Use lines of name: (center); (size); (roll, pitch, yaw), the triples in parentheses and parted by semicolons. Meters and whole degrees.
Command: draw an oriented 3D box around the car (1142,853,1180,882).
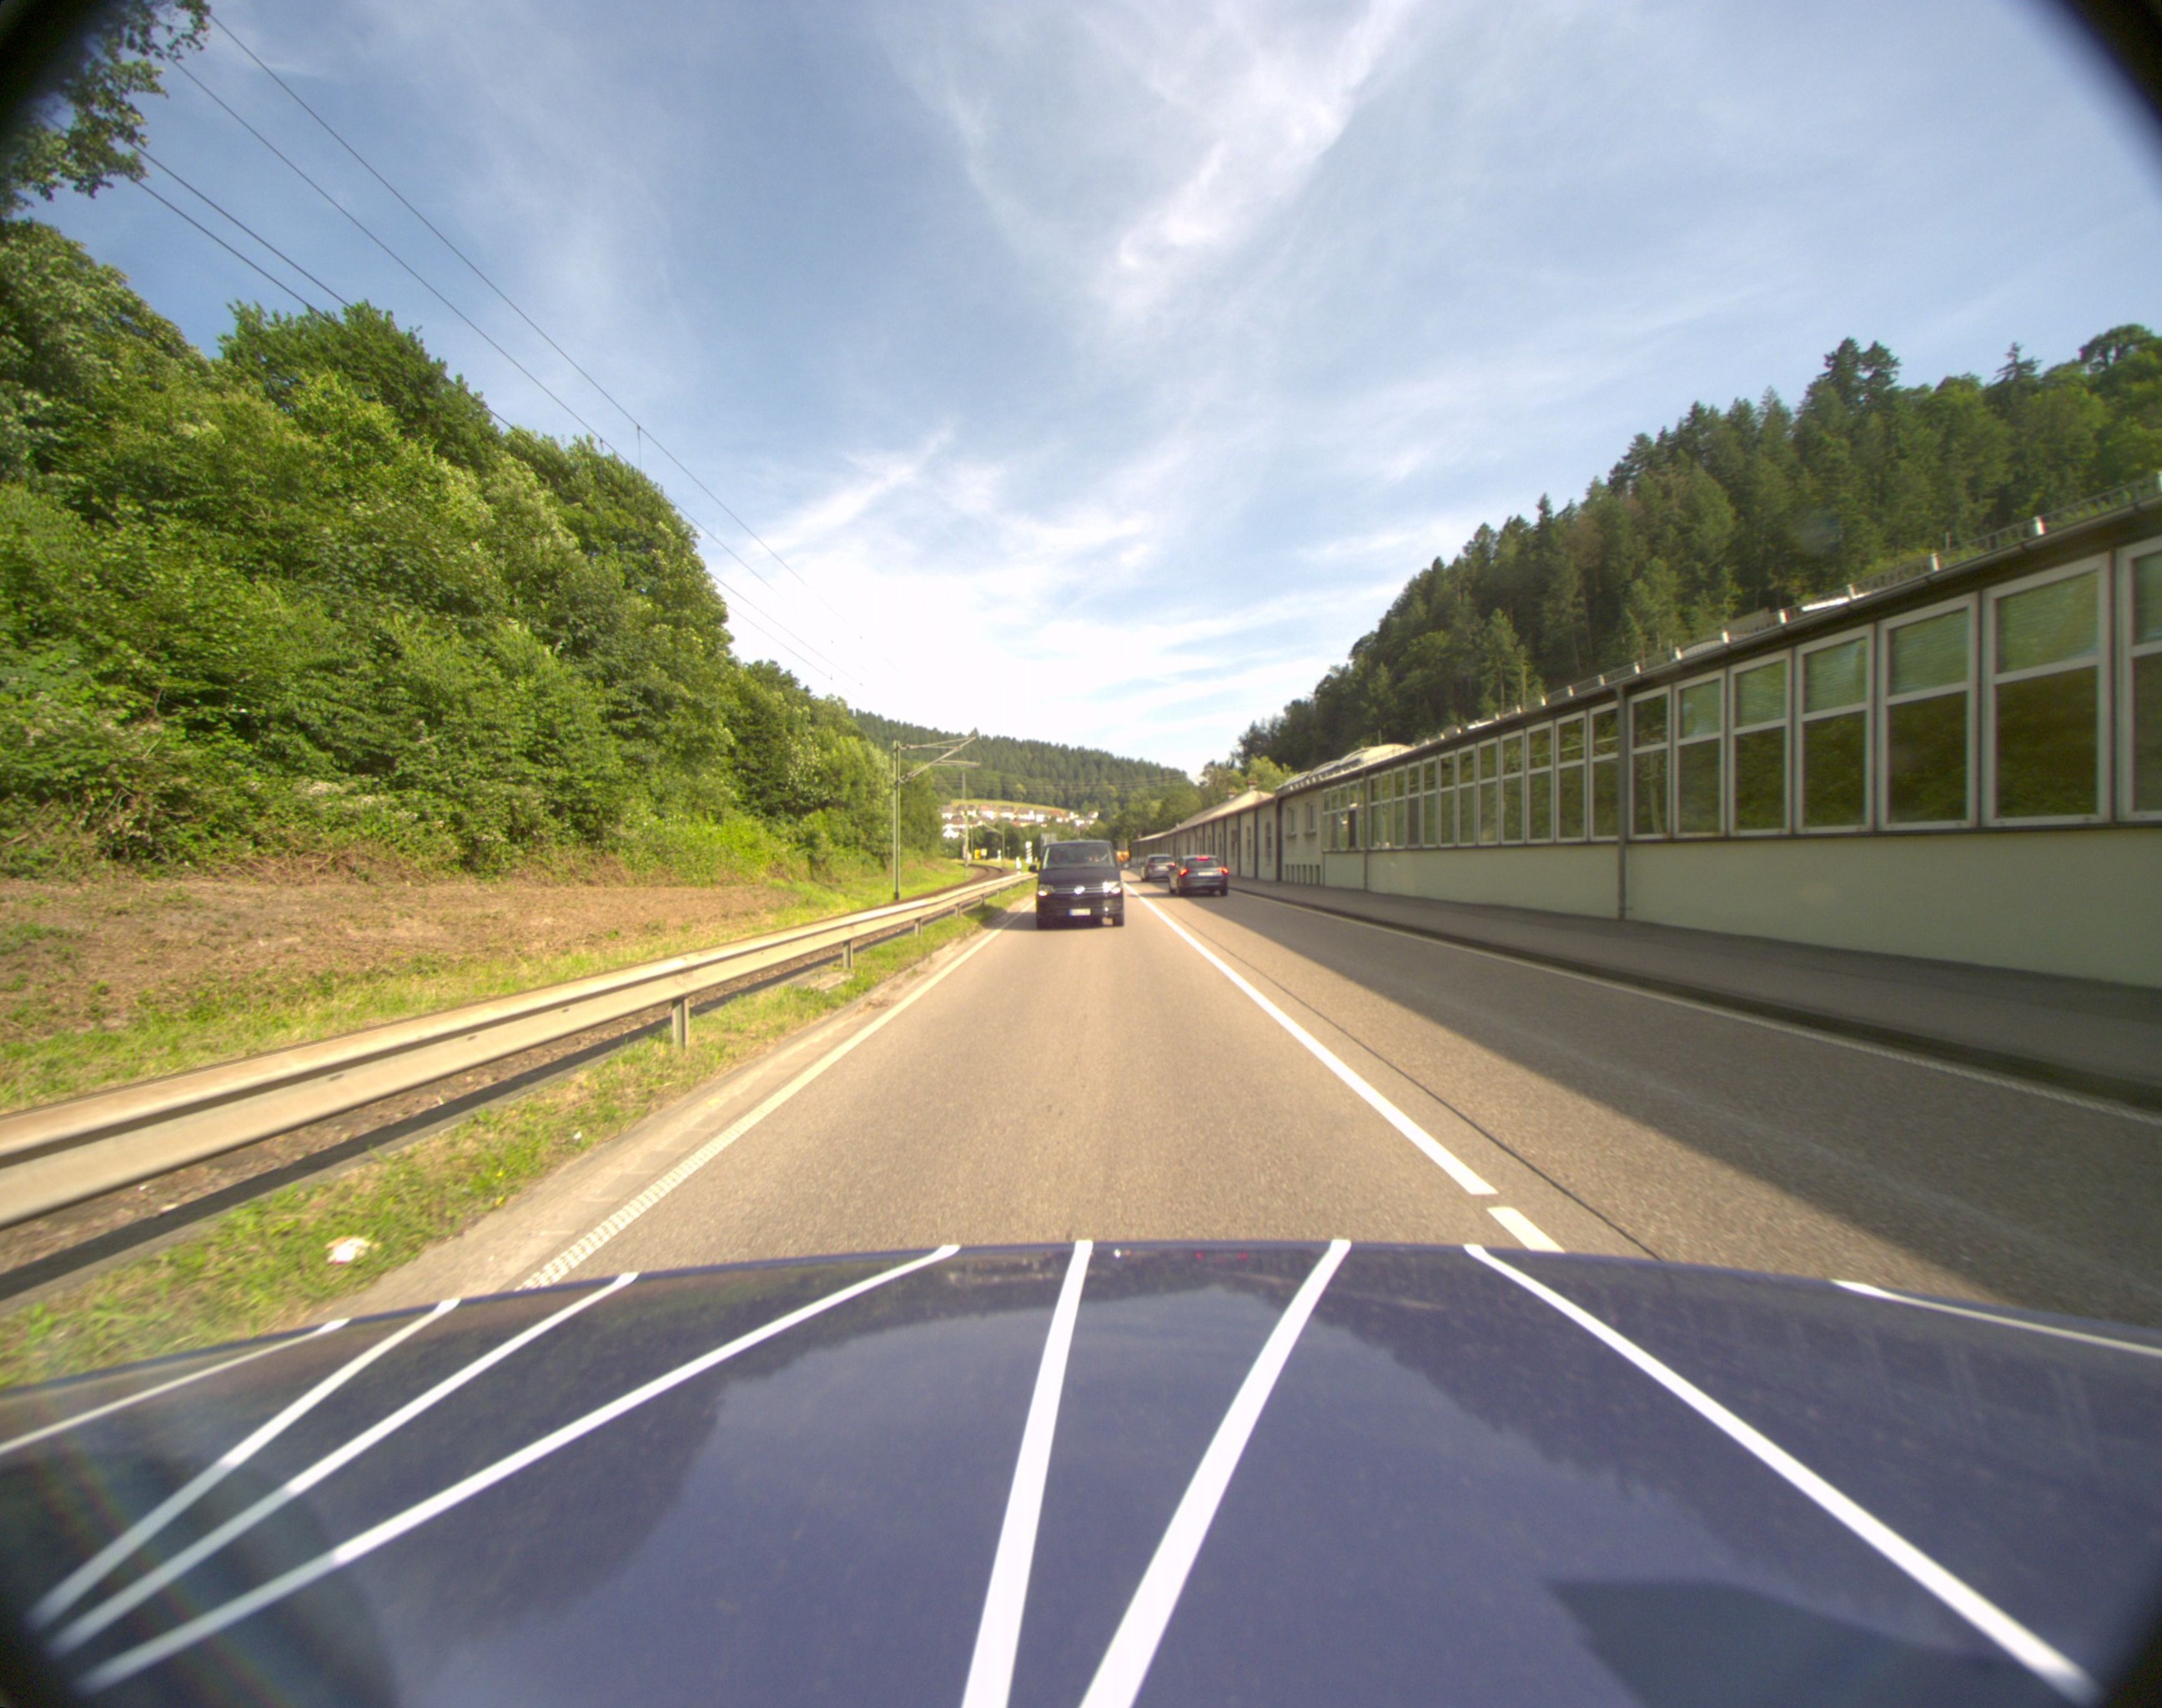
car: (4.501, 0.736, 43.049); (1.723, 1.505, 4.198); (-2, 0, 1)

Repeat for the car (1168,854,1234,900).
car: (4.279, 0.776, 27.635); (1.778, 1.482, 4.052); (-2, 0, 1)

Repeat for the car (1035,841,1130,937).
car: (-0.062, 0.712, 18.125); (1.901, 1.927, 5.187); (-1, 0, -2)
